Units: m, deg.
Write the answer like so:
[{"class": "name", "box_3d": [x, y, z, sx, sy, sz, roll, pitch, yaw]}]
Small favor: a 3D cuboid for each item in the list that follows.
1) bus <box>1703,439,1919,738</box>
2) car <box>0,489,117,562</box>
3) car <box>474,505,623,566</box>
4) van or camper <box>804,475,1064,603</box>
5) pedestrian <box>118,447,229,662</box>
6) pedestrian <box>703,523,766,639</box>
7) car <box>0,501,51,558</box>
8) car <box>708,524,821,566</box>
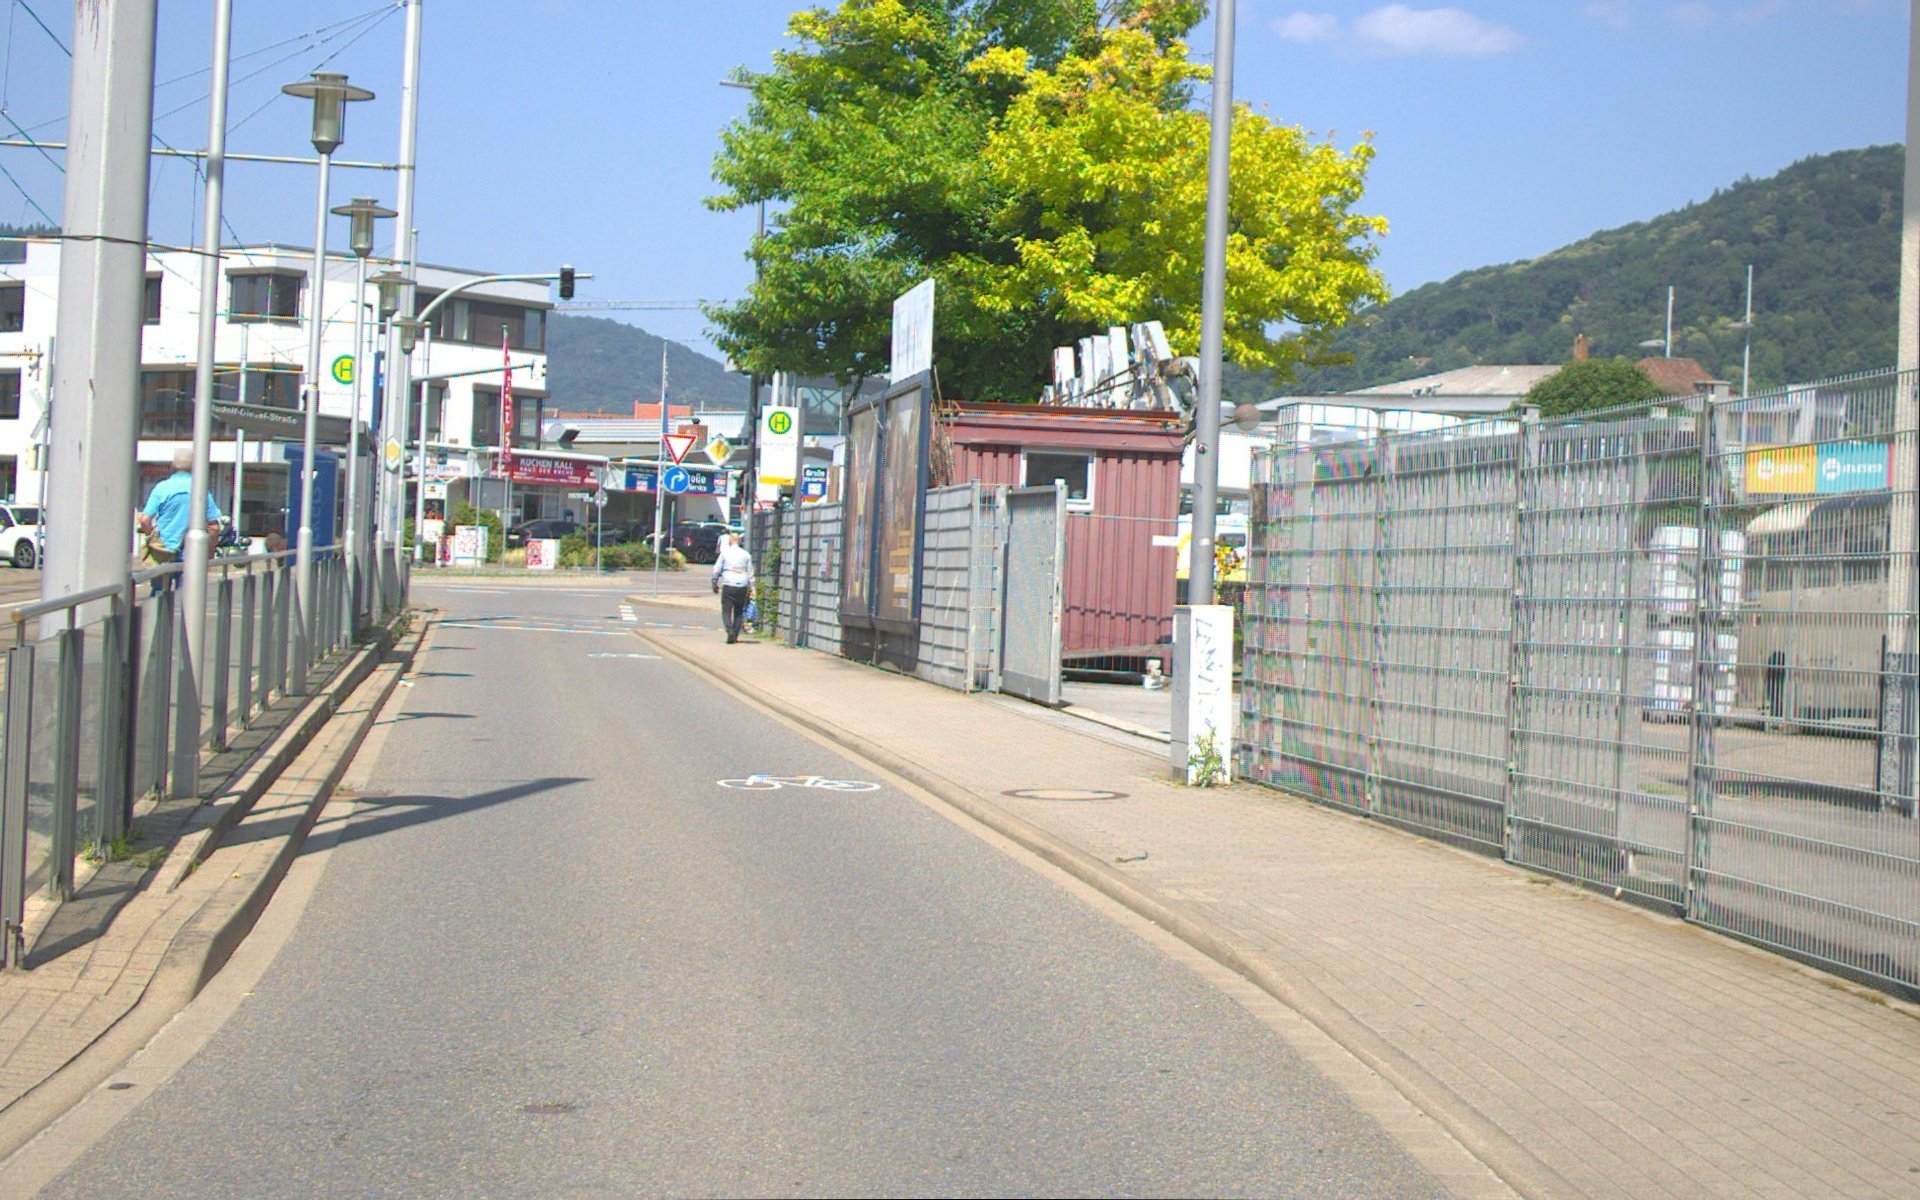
[{"class": "bus", "box_3d": [11.207, -0.060, 37.901, 2.565, 3.161, 10.270, 2, -1, -7]}, {"class": "car", "box_3d": [-23.355, -1.875, 85.888, 4.559, 1.727, 1.996, 2, 1, 36]}, {"class": "car", "box_3d": [-14.563, -2.272, 121.787, 1.964, 1.959, 5.268, 3, 1, 40]}, {"class": "van or camper", "box_3d": [-0.644, -1.429, 79.878, 5.810, 2.764, 2.091, 2, 2, -5]}, {"class": "pedestrian", "box_3d": [-6.524, -0.381, 28.556, 0.723, 1.719, 0.945, 3, 1, -8]}, {"class": "pedestrian", "box_3d": [-3.377, -0.289, 51.375, 0.812, 1.693, 0.887, 1, 1, -10]}, {"class": "car", "box_3d": [-29.770, -2.146, 102.434, 1.954, 1.659, 4.898, 2, 1, 43]}, {"class": "car", "box_3d": [-7.935, -2.223, 139.872, 1.884, 1.583, 4.918, 1, 0, 35]}]
